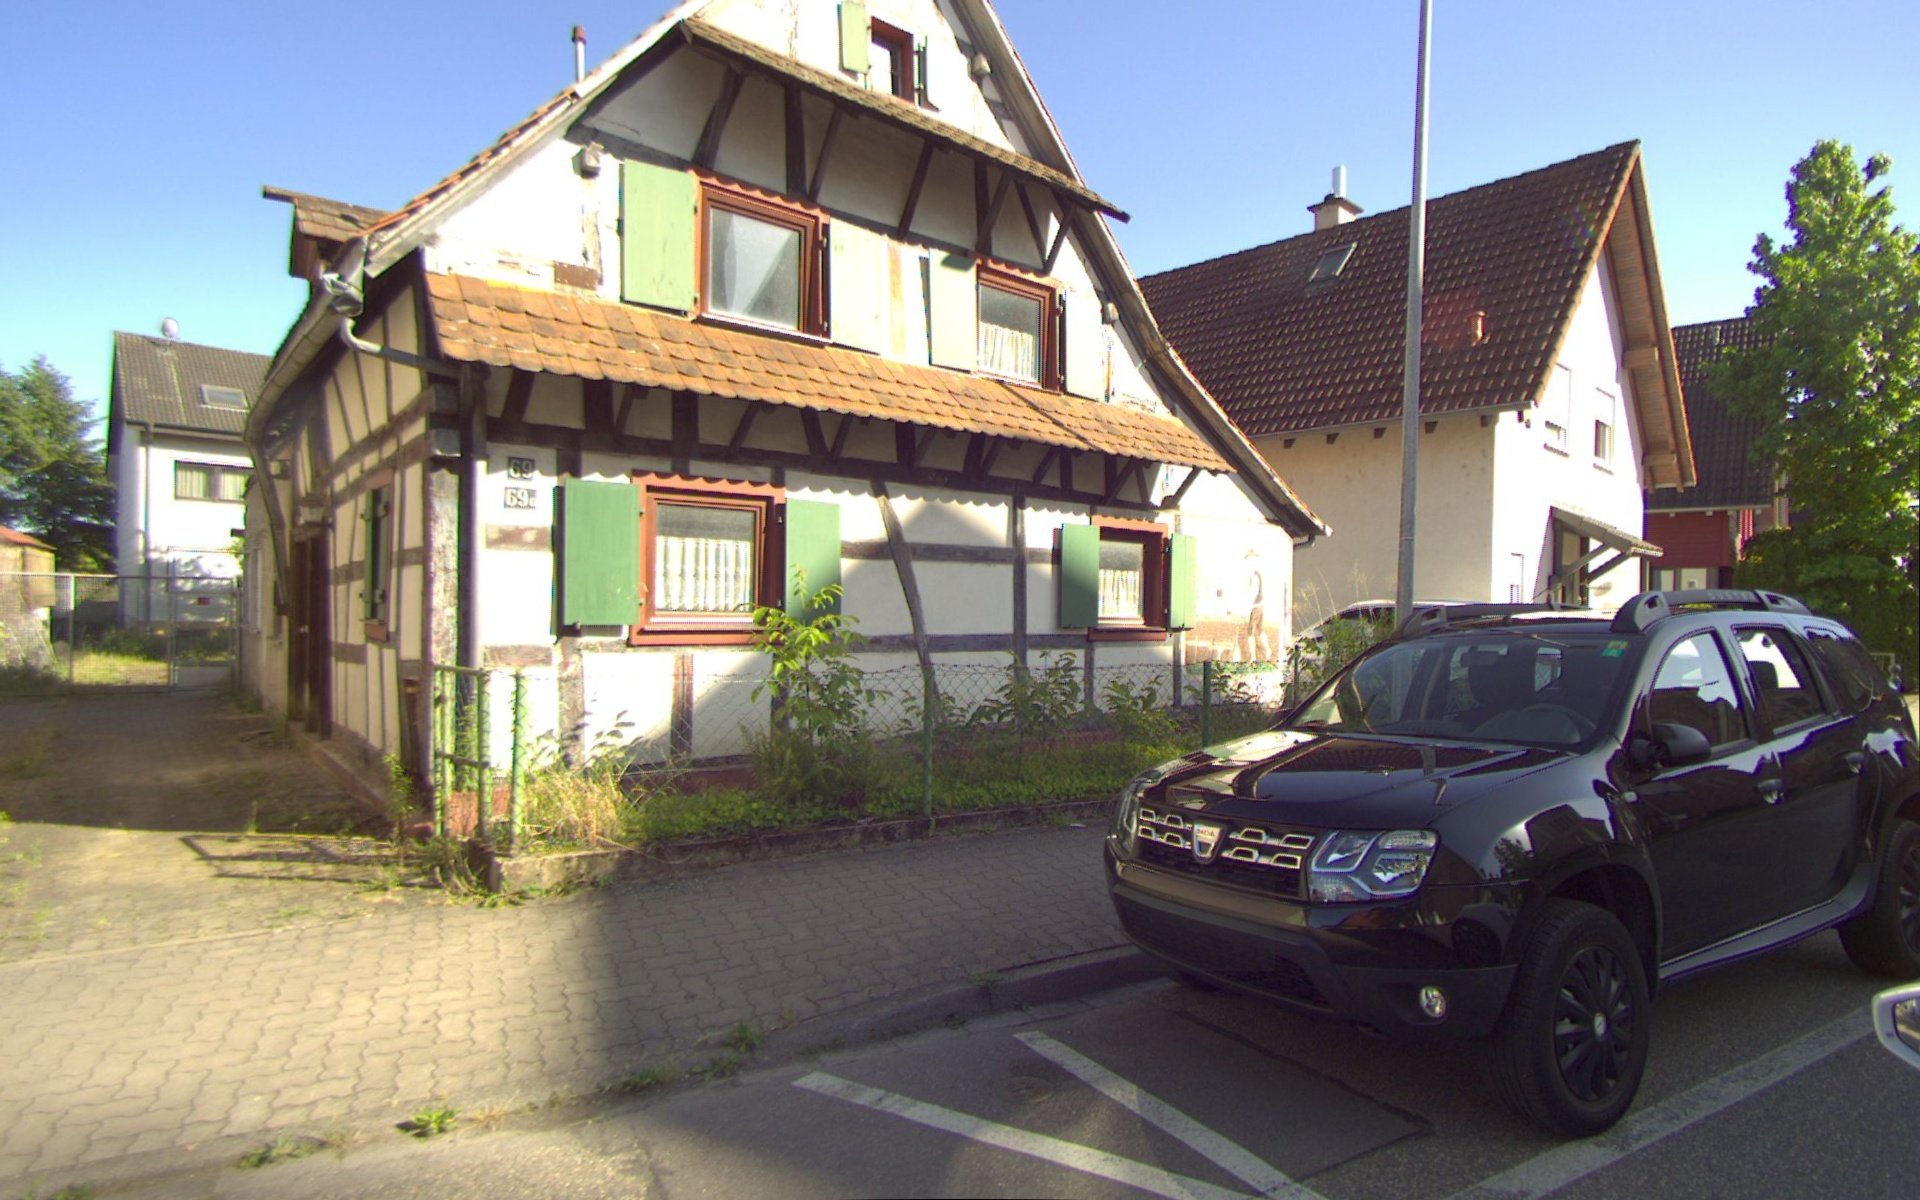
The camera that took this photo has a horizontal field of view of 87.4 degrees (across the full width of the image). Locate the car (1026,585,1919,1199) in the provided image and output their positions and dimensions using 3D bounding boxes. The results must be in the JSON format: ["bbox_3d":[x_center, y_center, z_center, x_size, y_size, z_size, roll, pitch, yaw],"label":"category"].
[{"bbox_3d":[2.577,0.913,4.365,4.303,1.692,1.824,1,-4,-31],"label":"car"}]

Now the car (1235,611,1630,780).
[{"bbox_3d":[5.640,0.995,12.287,1.987,1.610,3.947,0,1,-45],"label":"car"}]

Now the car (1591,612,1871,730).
[{"bbox_3d":[12.145,1.023,15.791,4.388,1.617,1.810,1,0,-27],"label":"car"}]
